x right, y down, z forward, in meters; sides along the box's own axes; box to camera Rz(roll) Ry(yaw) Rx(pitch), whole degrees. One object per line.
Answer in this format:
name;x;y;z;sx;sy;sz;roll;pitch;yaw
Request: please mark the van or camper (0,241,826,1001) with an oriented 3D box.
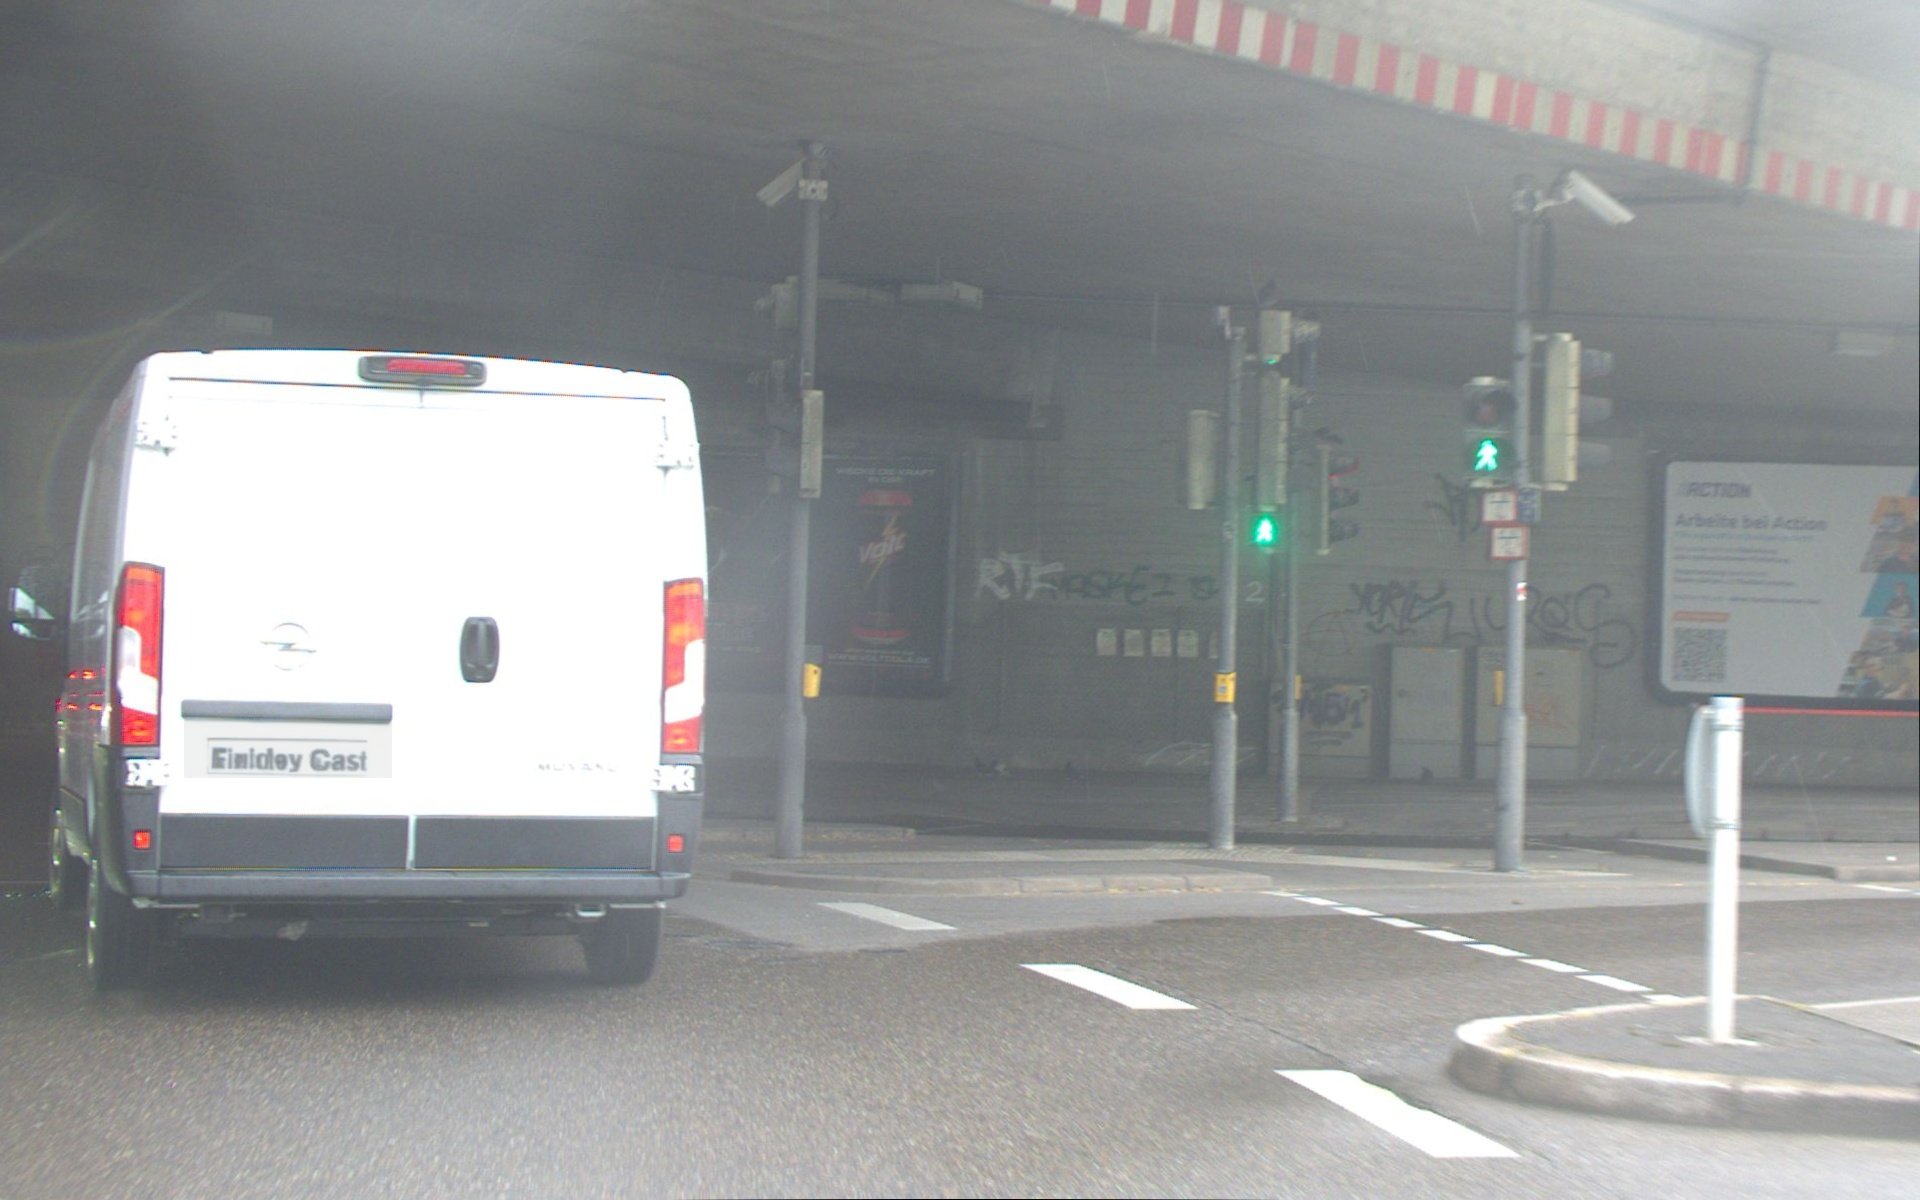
van or camper;-2.464;0.044;13.672;2.697;2.408;4.905;2;1;-16
